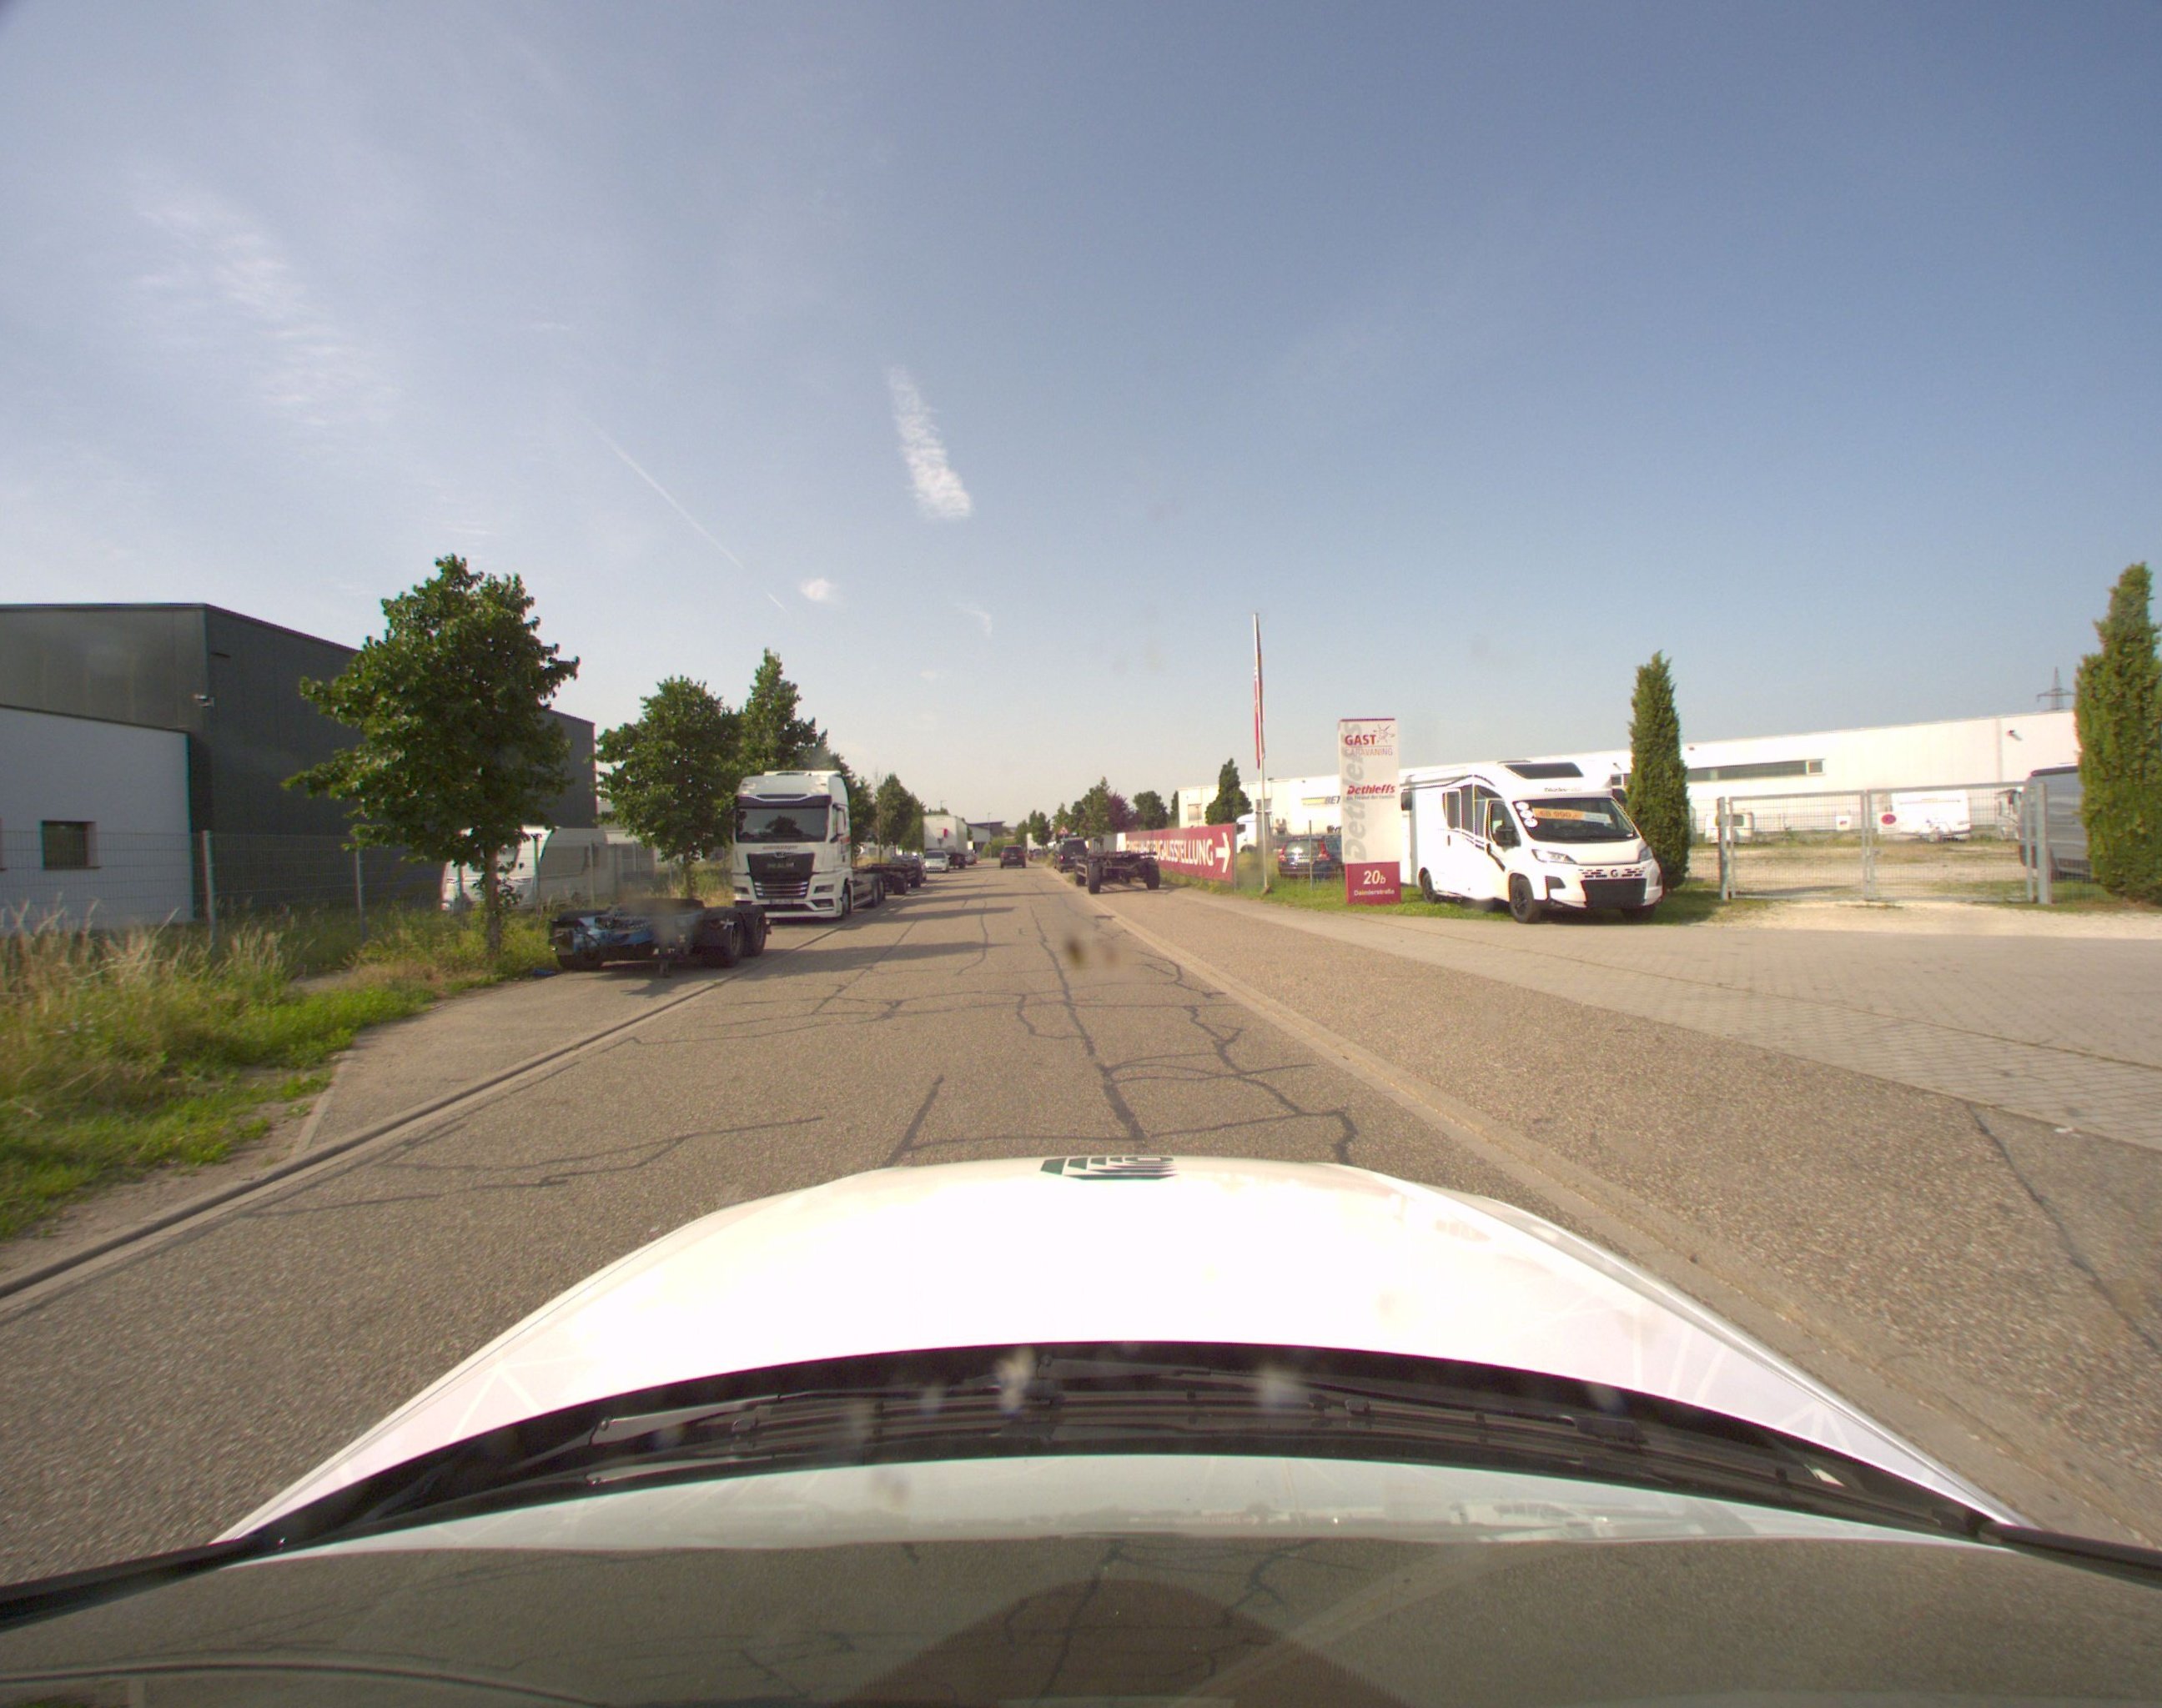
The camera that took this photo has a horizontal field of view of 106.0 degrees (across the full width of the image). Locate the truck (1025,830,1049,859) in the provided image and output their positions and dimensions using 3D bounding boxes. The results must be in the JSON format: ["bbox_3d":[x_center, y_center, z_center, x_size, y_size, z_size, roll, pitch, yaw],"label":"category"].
[{"bbox_3d":[-5.857,-1.289,109.484,2.881,3.586,8.052,-4,1,-3],"label":"truck"}]

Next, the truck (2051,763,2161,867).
[{"bbox_3d":[32.736,-1.237,25.033,2.427,2.845,8.053,-2,1,41],"label":"truck"}]

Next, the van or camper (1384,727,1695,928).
[{"bbox_3d":[8.211,-0.455,15.784,2.321,2.943,6.977,-2,1,3],"label":"van or camper"}]

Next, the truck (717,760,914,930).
[{"bbox_3d":[-7.583,-0.261,25.647,2.621,3.928,12.901,-2,0,-4],"label":"truck"}]

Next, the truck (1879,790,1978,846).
[{"bbox_3d":[38.720,-1.651,37.419,2.427,2.265,7.260,-2,1,41],"label":"truck"}]

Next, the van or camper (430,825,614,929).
[{"bbox_3d":[-15.844,0.578,23.513,2.304,2.560,4.940,-3,0,-8],"label":"van or camper"}]

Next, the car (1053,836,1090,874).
[{"bbox_3d":[-0.604,0.033,47.381,1.815,1.978,3.996,-6,1,-3],"label":"car"}]

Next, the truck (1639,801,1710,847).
[{"bbox_3d":[32.433,-1.649,44.390,2.427,2.265,8.053,-2,1,41],"label":"truck"}]

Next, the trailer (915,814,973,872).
[{"bbox_3d":[-11.384,-0.880,69.018,3.398,4.340,13.897,-2,0,-4],"label":"trailer"}]

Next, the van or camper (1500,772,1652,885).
[{"bbox_3d":[13.399,-0.702,21.766,2.459,2.558,6.668,-1,2,40],"label":"van or camper"}]

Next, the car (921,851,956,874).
[{"bbox_3d":[-9.575,0.552,54.955,1.807,1.427,3.995,-2,0,-4],"label":"car"}]

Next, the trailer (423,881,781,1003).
[{"bbox_3d":[-6.526,1.108,12.121,2.570,1.100,5.192,-2,1,-5],"label":"trailer"}]

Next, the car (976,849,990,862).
[{"bbox_3d":[-15.069,0.219,125.271,1.991,1.772,3.993,-2,0,-5],"label":"car"}]

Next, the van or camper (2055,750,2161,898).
[{"bbox_3d":[20.434,-0.608,14.903,1.974,2.534,6.191,-2,1,37],"label":"van or camper"}]

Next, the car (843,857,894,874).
[{"bbox_3d":[-18.786,0.995,72.128,3.972,1.340,1.618,-2,1,1],"label":"car"}]

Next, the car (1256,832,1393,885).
[{"bbox_3d":[7.802,0.111,26.012,4.017,1.476,2.149,-2,1,-35],"label":"car"}]

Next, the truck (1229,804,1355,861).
[{"bbox_3d":[16.293,-1.604,63.477,9.193,3.972,2.474,-2,1,38],"label":"truck"}]

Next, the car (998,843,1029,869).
[{"bbox_3d":[-5.023,0.112,60.995,1.987,1.804,4.000,-1,1,0],"label":"car"}]

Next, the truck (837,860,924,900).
[{"bbox_3d":[-8.181,0.989,33.931,2.521,1.265,6.514,-3,1,-5],"label":"truck"}]

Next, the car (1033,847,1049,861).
[{"bbox_3d":[-4.832,-0.040,98.654,1.814,1.449,3.797,-4,1,-3],"label":"car"}]

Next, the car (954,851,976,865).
[{"bbox_3d":[-13.459,0.474,94.288,1.988,1.523,3.998,-3,0,-1],"label":"car"}]

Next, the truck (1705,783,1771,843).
[{"bbox_3d":[34.722,-2.117,42.926,2.427,2.826,8.053,-2,1,41],"label":"truck"}]

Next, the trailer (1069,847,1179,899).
[{"bbox_3d":[1.261,0.559,29.695,2.619,1.388,9.437,-5,1,-5],"label":"trailer"}]

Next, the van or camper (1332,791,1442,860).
[{"bbox_3d":[15.073,-1.418,39.786,2.637,3.083,6.838,-1,2,42],"label":"van or camper"}]

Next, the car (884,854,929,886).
[{"bbox_3d":[-8.839,0.781,41.537,1.884,1.436,3.988,-3,0,-8],"label":"car"}]
